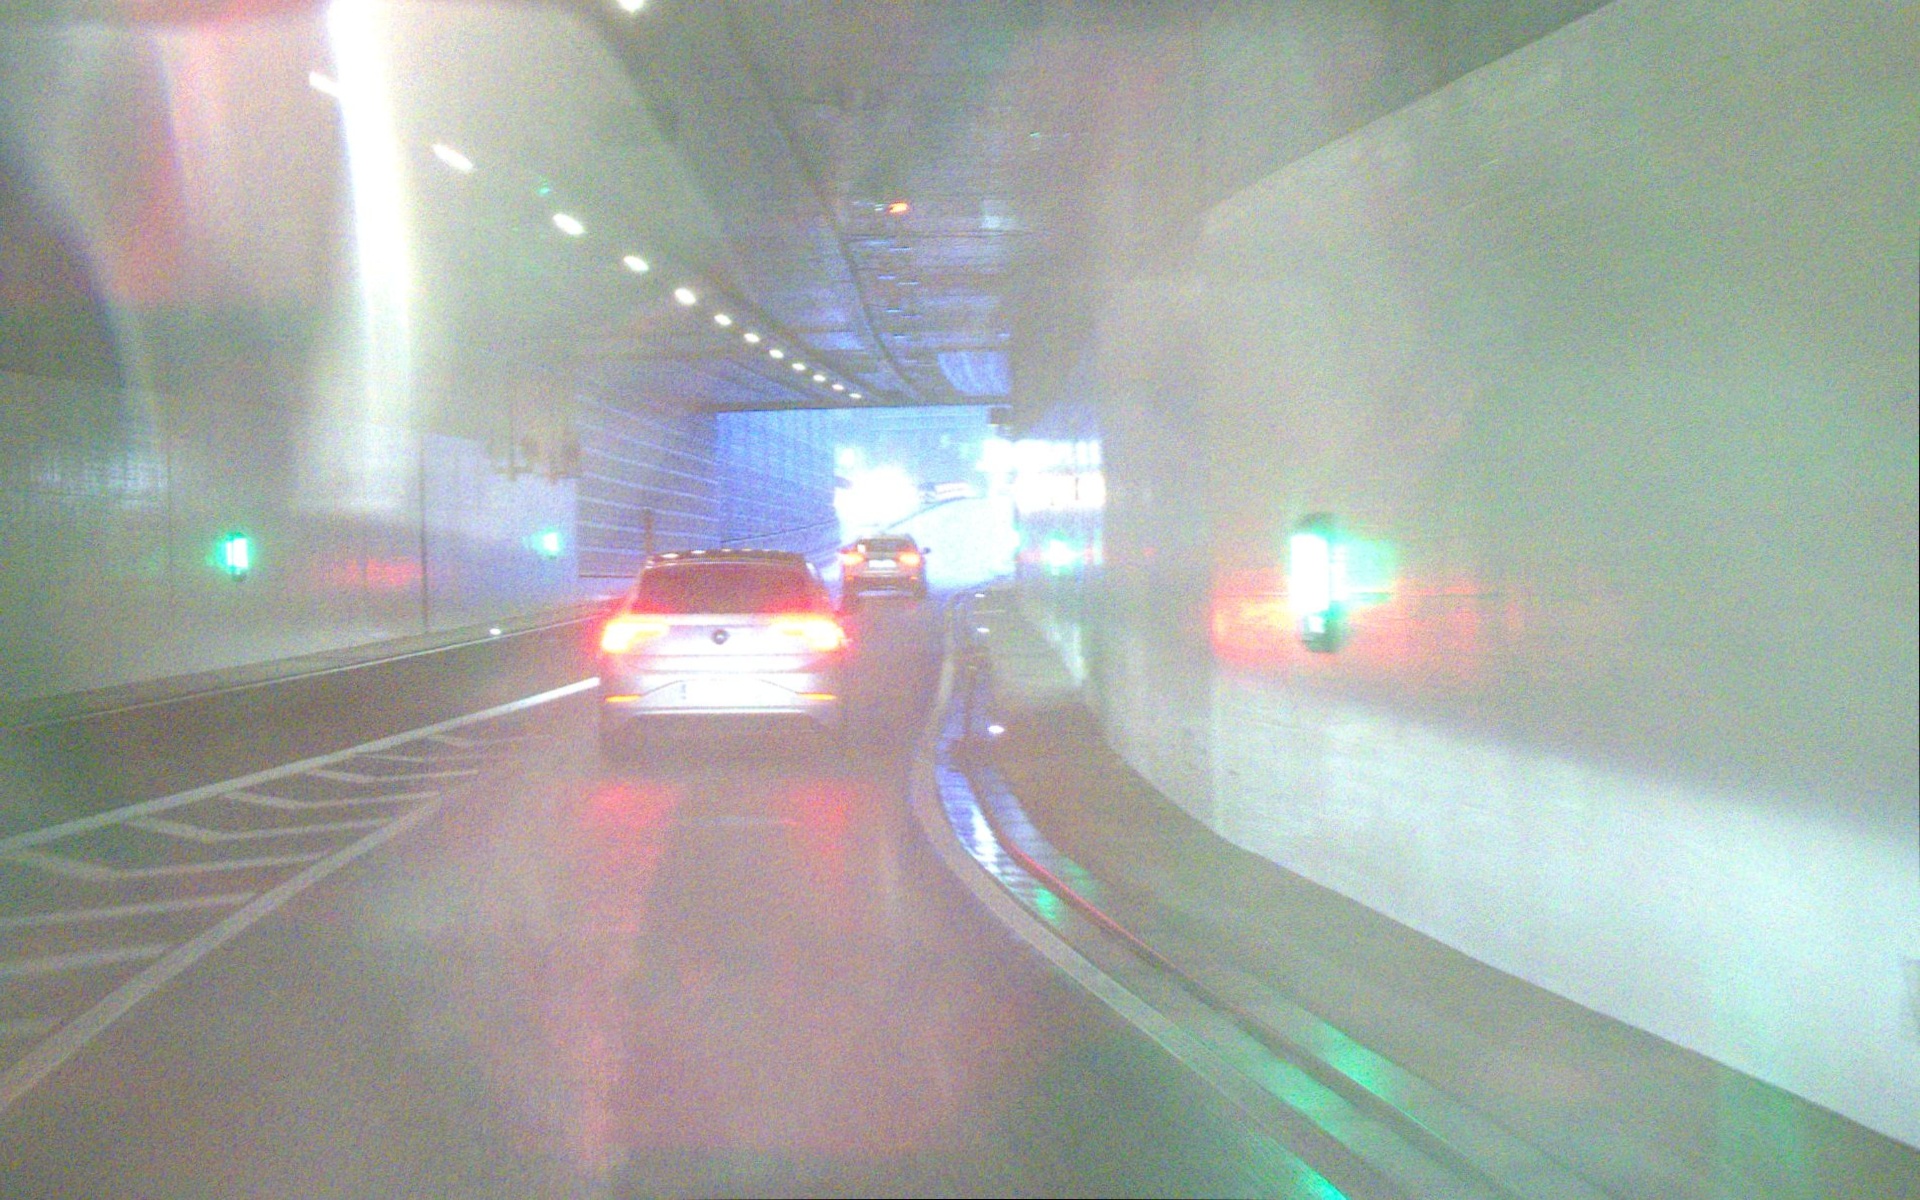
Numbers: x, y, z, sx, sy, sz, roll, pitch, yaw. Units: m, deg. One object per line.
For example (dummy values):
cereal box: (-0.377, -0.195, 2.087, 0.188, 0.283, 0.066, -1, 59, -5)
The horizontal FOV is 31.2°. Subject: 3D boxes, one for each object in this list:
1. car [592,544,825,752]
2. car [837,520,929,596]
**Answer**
car: (-1.759, 0.303, 24.833, 1.532, 1.392, 3.434, 0, 1, -2)
car: (-1.691, -0.912, 76.690, 1.880, 1.615, 4.000, 0, 0, 1)
